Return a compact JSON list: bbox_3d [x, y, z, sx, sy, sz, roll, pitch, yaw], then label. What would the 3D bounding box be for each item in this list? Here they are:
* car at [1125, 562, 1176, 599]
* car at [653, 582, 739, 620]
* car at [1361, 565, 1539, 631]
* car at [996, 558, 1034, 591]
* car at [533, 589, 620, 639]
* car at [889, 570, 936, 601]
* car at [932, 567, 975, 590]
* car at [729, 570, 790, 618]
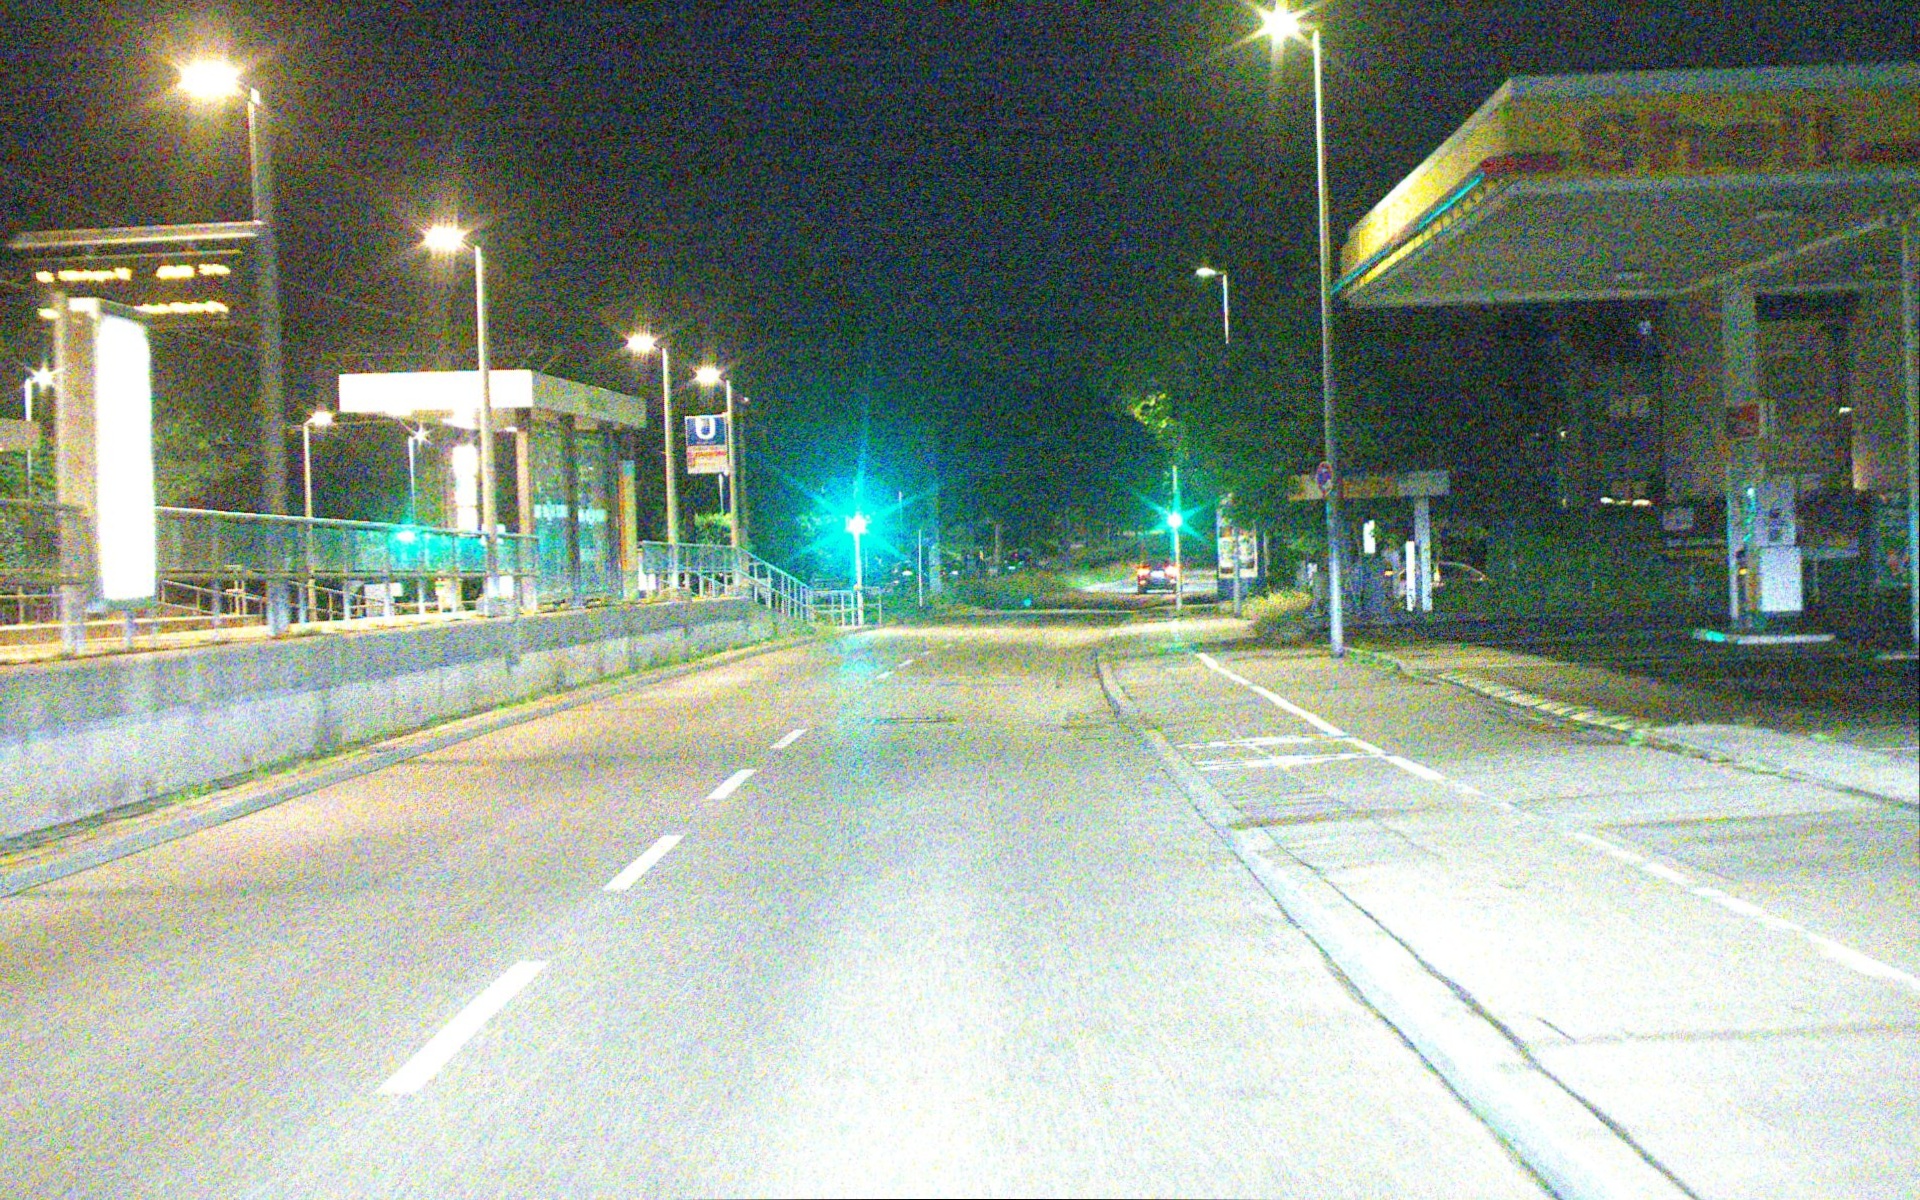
[{"bbox_3d":[8.331,-0.862,150.396,2.162,1.577,4.013,-1,0,3],"label":"car"},{"bbox_3d":[-9.822,0.030,128.036,3.028,1.321,1.534,-1,0,2],"label":"car"},{"bbox_3d":[10.850,-0.046,76.378,3.765,1.349,1.859,-2,0,4],"label":"car"},{"bbox_3d":[3.838,-1.749,237.301,2.092,2.007,3.999,-5,1,6],"label":"car"},{"bbox_3d":[-11.814,0.423,106.216,1.646,1.335,4.542,-5,0,6],"label":"car"},{"bbox_3d":[-2.578,-0.784,187.476,1.994,1.622,4.676,-1,0,6],"label":"car"},{"bbox_3d":[-0.396,-1.298,207.194,1.994,1.333,5.431,-1,0,6],"label":"car"},{"bbox_3d":[-8.112,-0.251,139.497,1.857,1.898,4.879,-1,0,4],"label":"car"}]
